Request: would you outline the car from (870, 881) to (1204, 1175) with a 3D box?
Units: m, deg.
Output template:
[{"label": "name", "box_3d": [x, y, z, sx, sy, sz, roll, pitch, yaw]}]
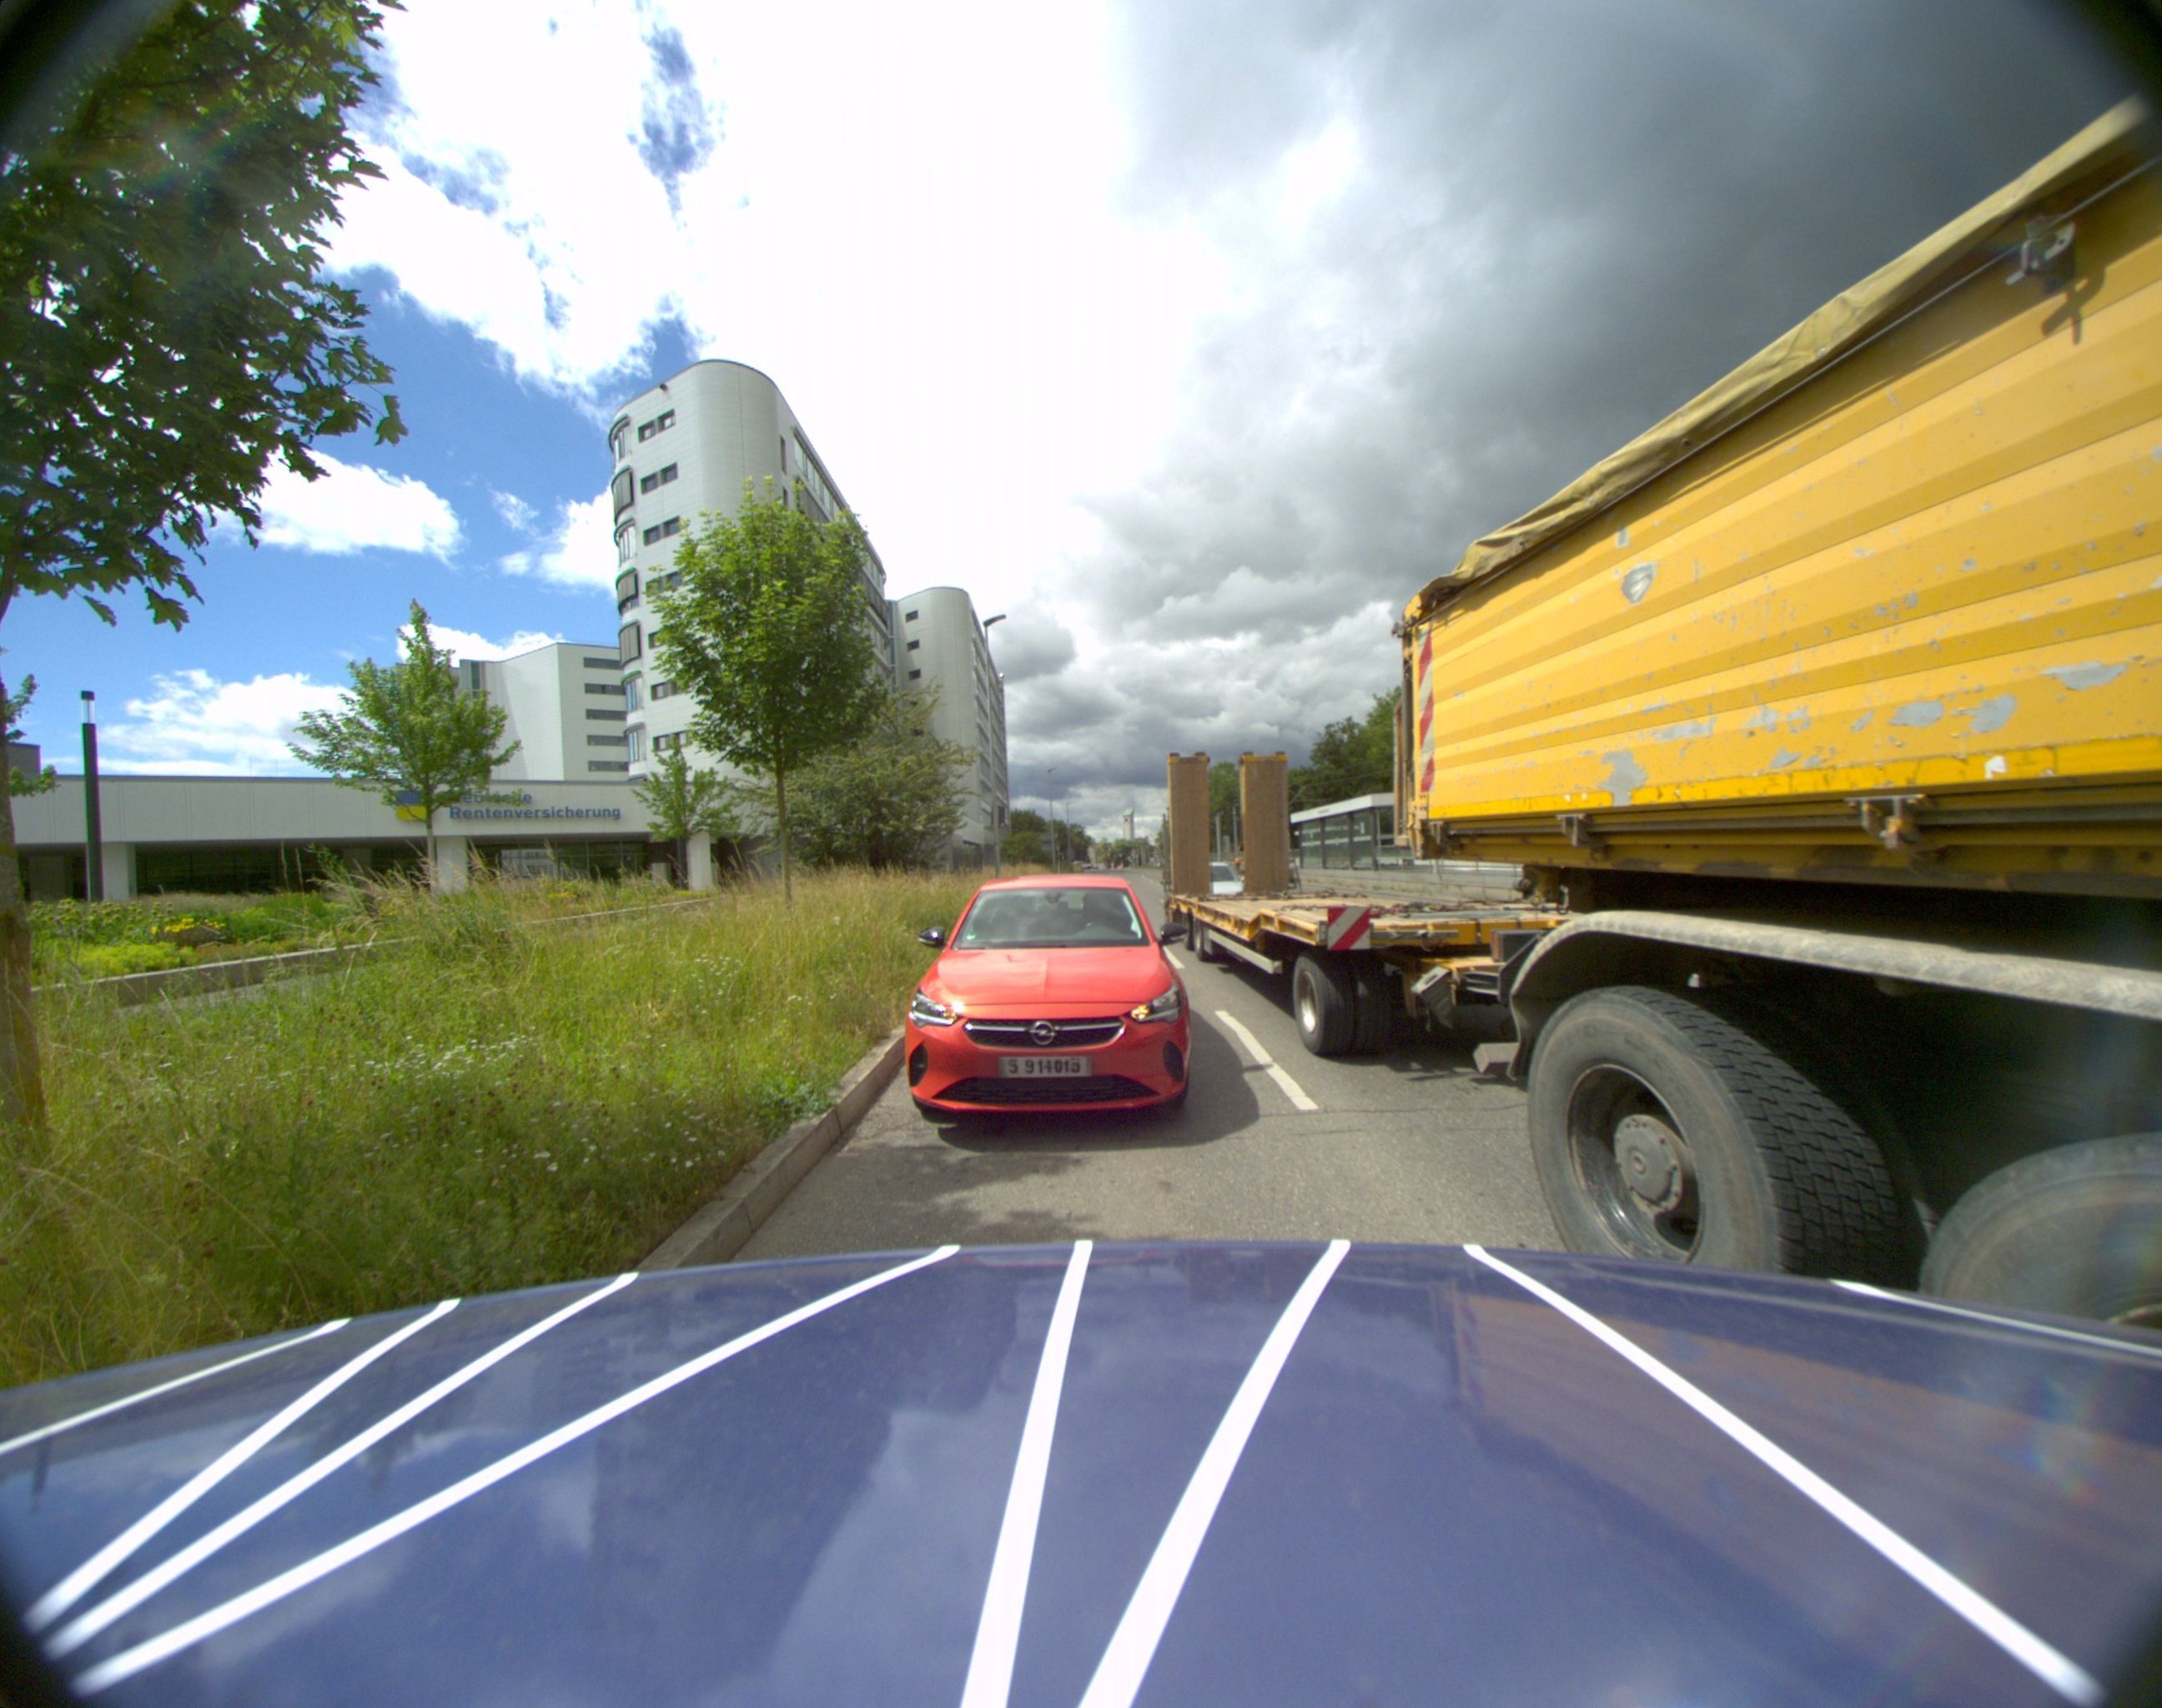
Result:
[{"label": "car", "box_3d": [-0.201, 0.990, 5.855, 1.749, 1.408, 3.676, -1, 0, 1]}]

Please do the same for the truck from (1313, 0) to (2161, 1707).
[{"label": "truck", "box_3d": [2.867, -0.058, 0.125, 3.057, 3.374, 8.006, -2, 0, 0]}]

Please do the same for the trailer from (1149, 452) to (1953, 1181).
[{"label": "trailer", "box_3d": [2.939, -0.172, 9.426, 3.057, 3.676, 10.965, -2, 0, 0]}]

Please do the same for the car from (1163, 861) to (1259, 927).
[{"label": "car", "box_3d": [3.132, 0.916, 19.024, 1.784, 1.408, 3.785, -2, 0, 1]}]
